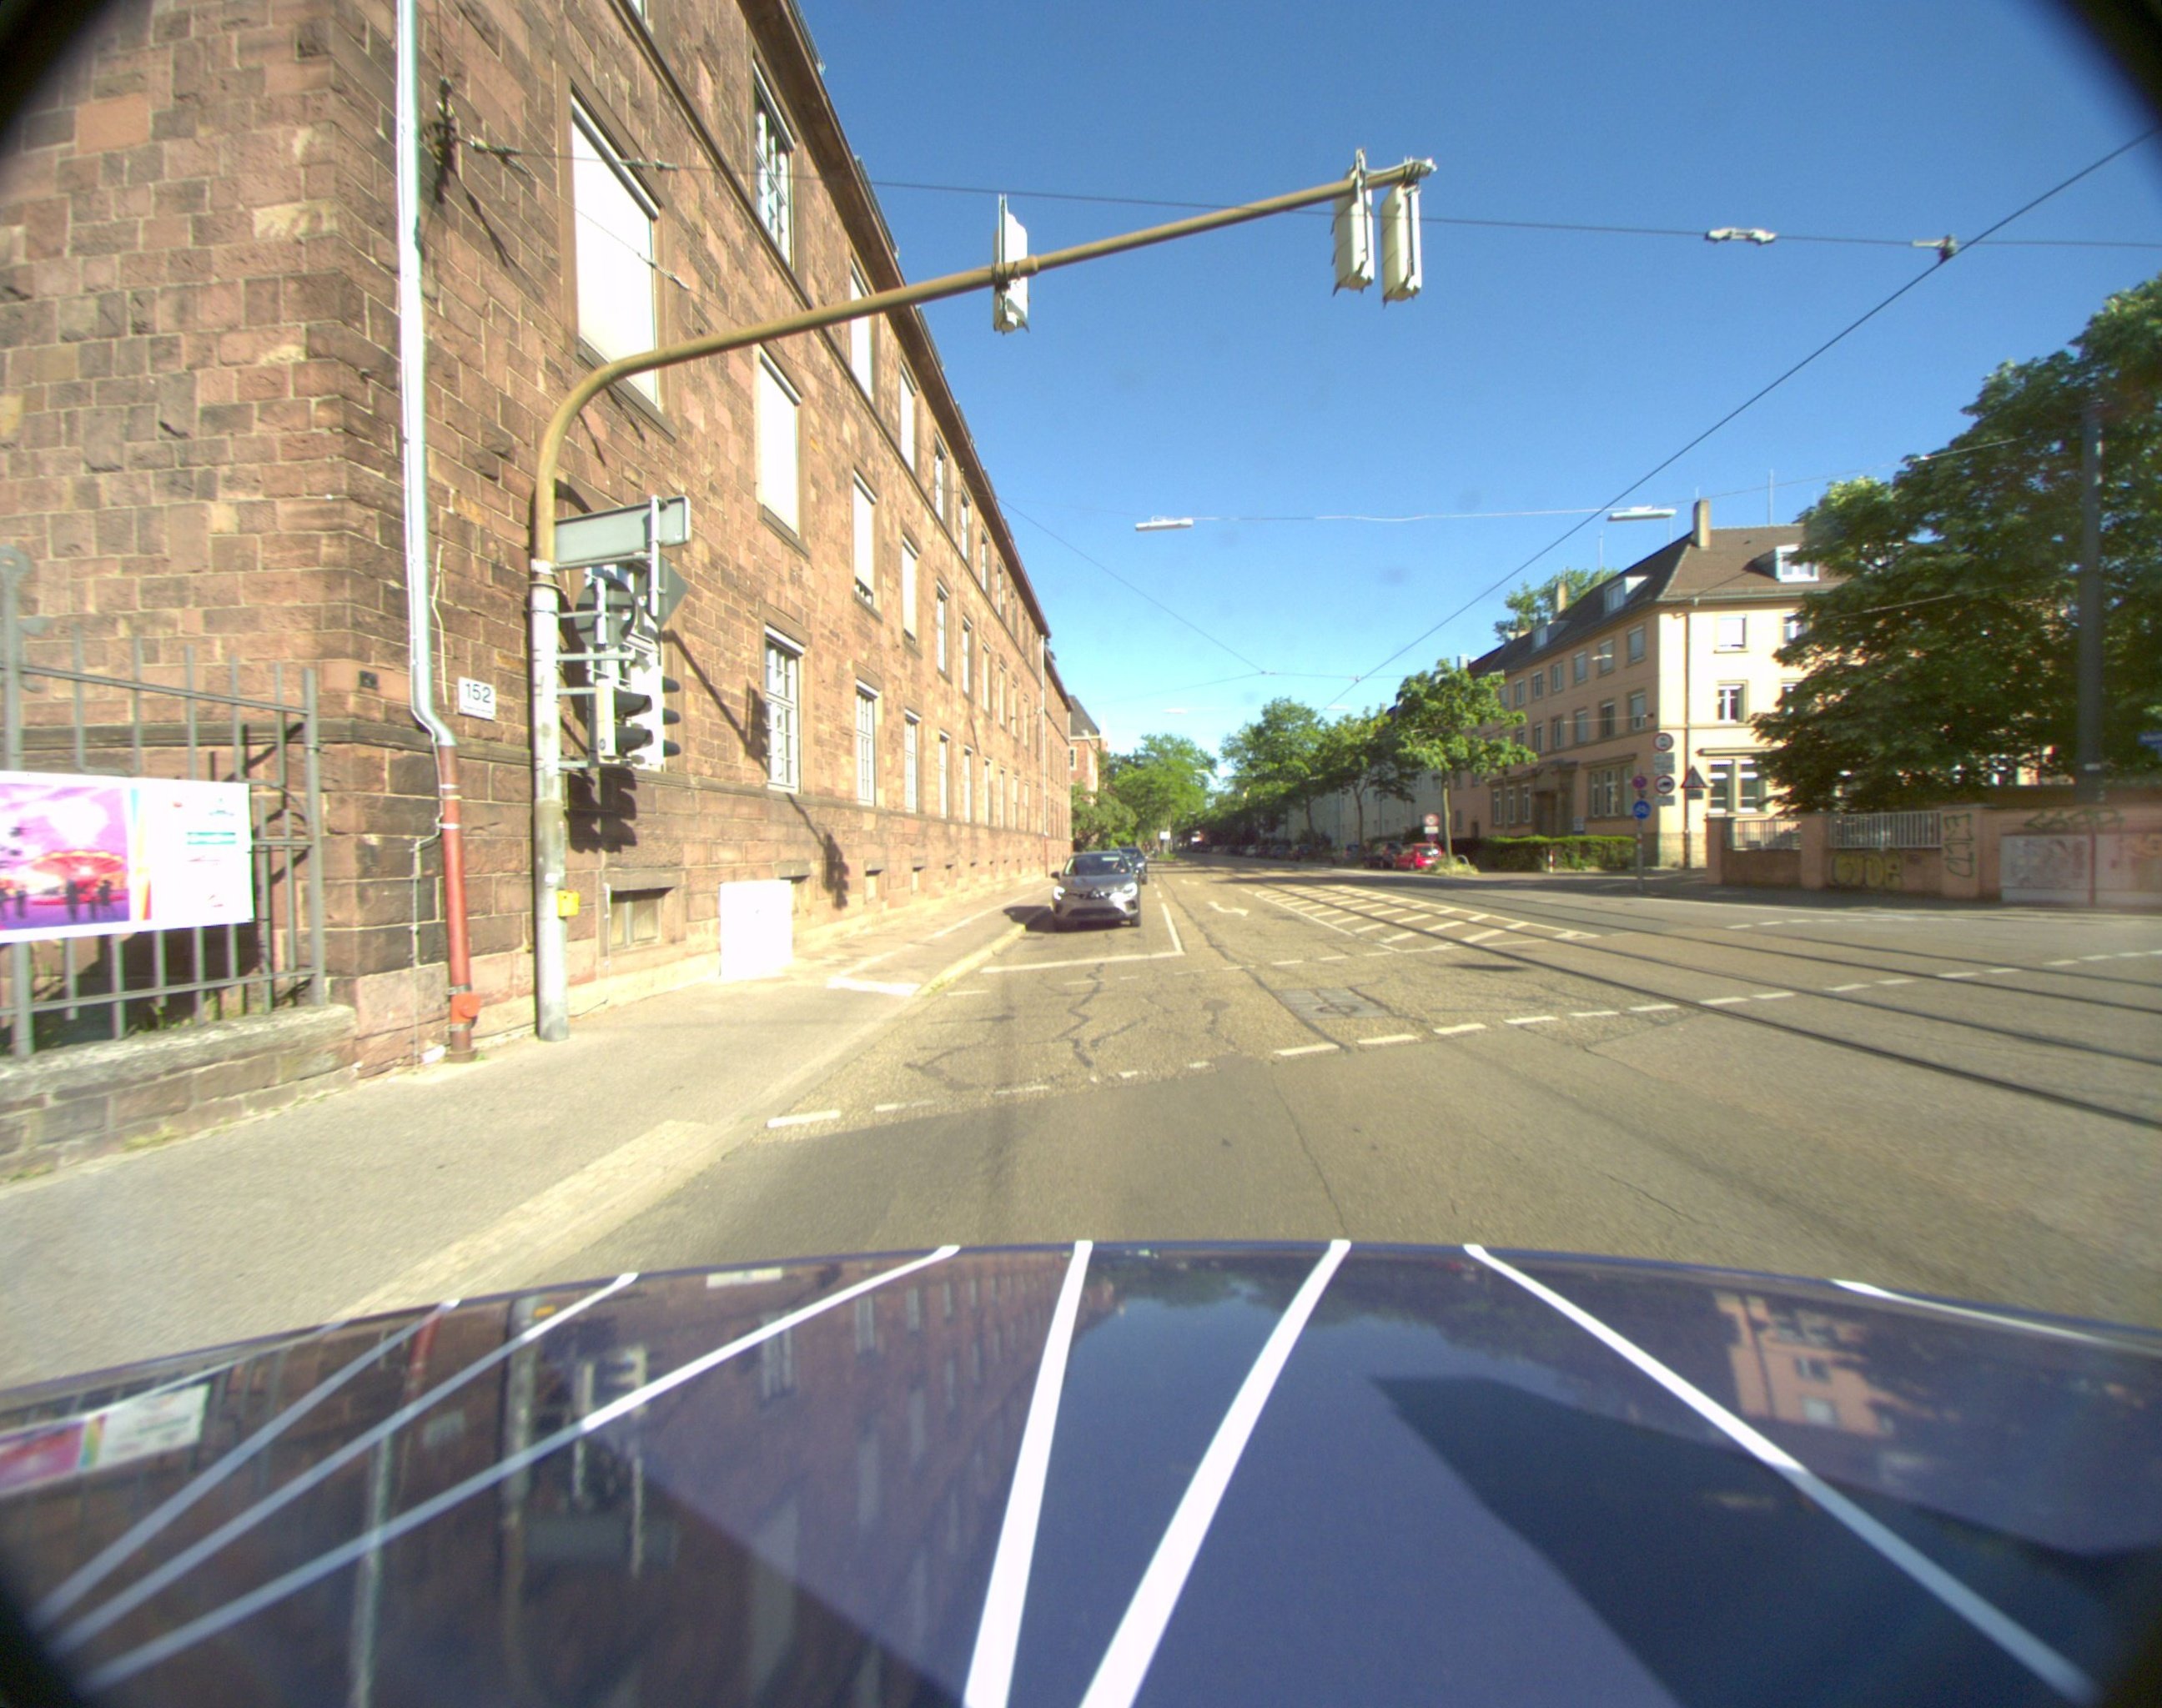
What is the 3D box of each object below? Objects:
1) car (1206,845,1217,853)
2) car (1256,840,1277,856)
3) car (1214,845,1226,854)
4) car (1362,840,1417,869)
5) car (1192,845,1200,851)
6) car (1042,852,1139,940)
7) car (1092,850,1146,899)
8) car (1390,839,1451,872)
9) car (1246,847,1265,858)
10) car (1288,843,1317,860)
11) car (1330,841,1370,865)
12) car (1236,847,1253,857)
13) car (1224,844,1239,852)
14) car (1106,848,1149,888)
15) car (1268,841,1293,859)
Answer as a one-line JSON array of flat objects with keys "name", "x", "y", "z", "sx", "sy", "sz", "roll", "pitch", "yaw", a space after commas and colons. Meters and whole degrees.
[{"name": "car", "x": 27.812, "y": -1.094, "z": 161.926, "sx": 1.815, "sy": 1.514, "sz": 3.631, "roll": -1, "pitch": 1, "yaw": 3}, {"name": "car", "x": 22.345, "y": -0.712, "z": 91.755, "sx": 1.815, "sy": 1.929, "sz": 3.631, "roll": -1, "pitch": 1, "yaw": 3}, {"name": "car", "x": 27.534, "y": -0.815, "z": 150.276, "sx": 1.815, "sy": 1.768, "sz": 3.631, "roll": -1, "pitch": 1, "yaw": 3}, {"name": "car", "x": 18.570, "y": 0.023, "z": 45.943, "sx": 1.816, "sy": 1.649, "sz": 3.820, "roll": -1, "pitch": 1, "yaw": 1}, {"name": "car", "x": 31.203, "y": -1.673, "z": 206.293, "sx": 1.815, "sy": 1.411, "sz": 3.631, "roll": -1, "pitch": 1, "yaw": 3}, {"name": "car", "x": 0.277, "y": 0.792, "z": 16.362, "sx": 1.795, "sy": 1.595, "sz": 3.799, "roll": -2, "pitch": 1, "yaw": 3}, {"name": "car", "x": 1.385, "y": 0.701, "z": 27.773, "sx": 1.795, "sy": 1.595, "sz": 3.799, "roll": -2, "pitch": 1, "yaw": 3}, {"name": "car", "x": 18.427, "y": 0.063, "z": 41.382, "sx": 1.816, "sy": 1.696, "sz": 3.375, "roll": -1, "pitch": 1, "yaw": 1}, {"name": "car", "x": 23.203, "y": -0.205, "z": 101.149, "sx": 1.815, "sy": 1.411, "sz": 3.631, "roll": -1, "pitch": 1, "yaw": 3}, {"name": "car", "x": 20.636, "y": -0.232, "z": 70.916, "sx": 1.815, "sy": 1.589, "sz": 3.631, "roll": -1, "pitch": 1, "yaw": 3}, {"name": "car", "x": 19.333, "y": -0.060, "z": 54.721, "sx": 1.815, "sy": 1.649, "sz": 3.878, "roll": -1, "pitch": 1, "yaw": 5}, {"name": "car", "x": 23.703, "y": -0.269, "z": 110.066, "sx": 1.815, "sy": 1.411, "sz": 3.631, "roll": -1, "pitch": 1, "yaw": 3}, {"name": "car", "x": 25.112, "y": -1.009, "z": 126.839, "sx": 1.815, "sy": 1.411, "sz": 3.631, "roll": -1, "pitch": 1, "yaw": 3}, {"name": "car", "x": 2.098, "y": 0.593, "z": 34.529, "sx": 1.795, "sy": 1.638, "sz": 4.084, "roll": -2, "pitch": 1, "yaw": 3}, {"name": "car", "x": 21.730, "y": -0.433, "z": 82.843, "sx": 1.815, "sy": 1.814, "sz": 3.796, "roll": -1, "pitch": 1, "yaw": 3}]
